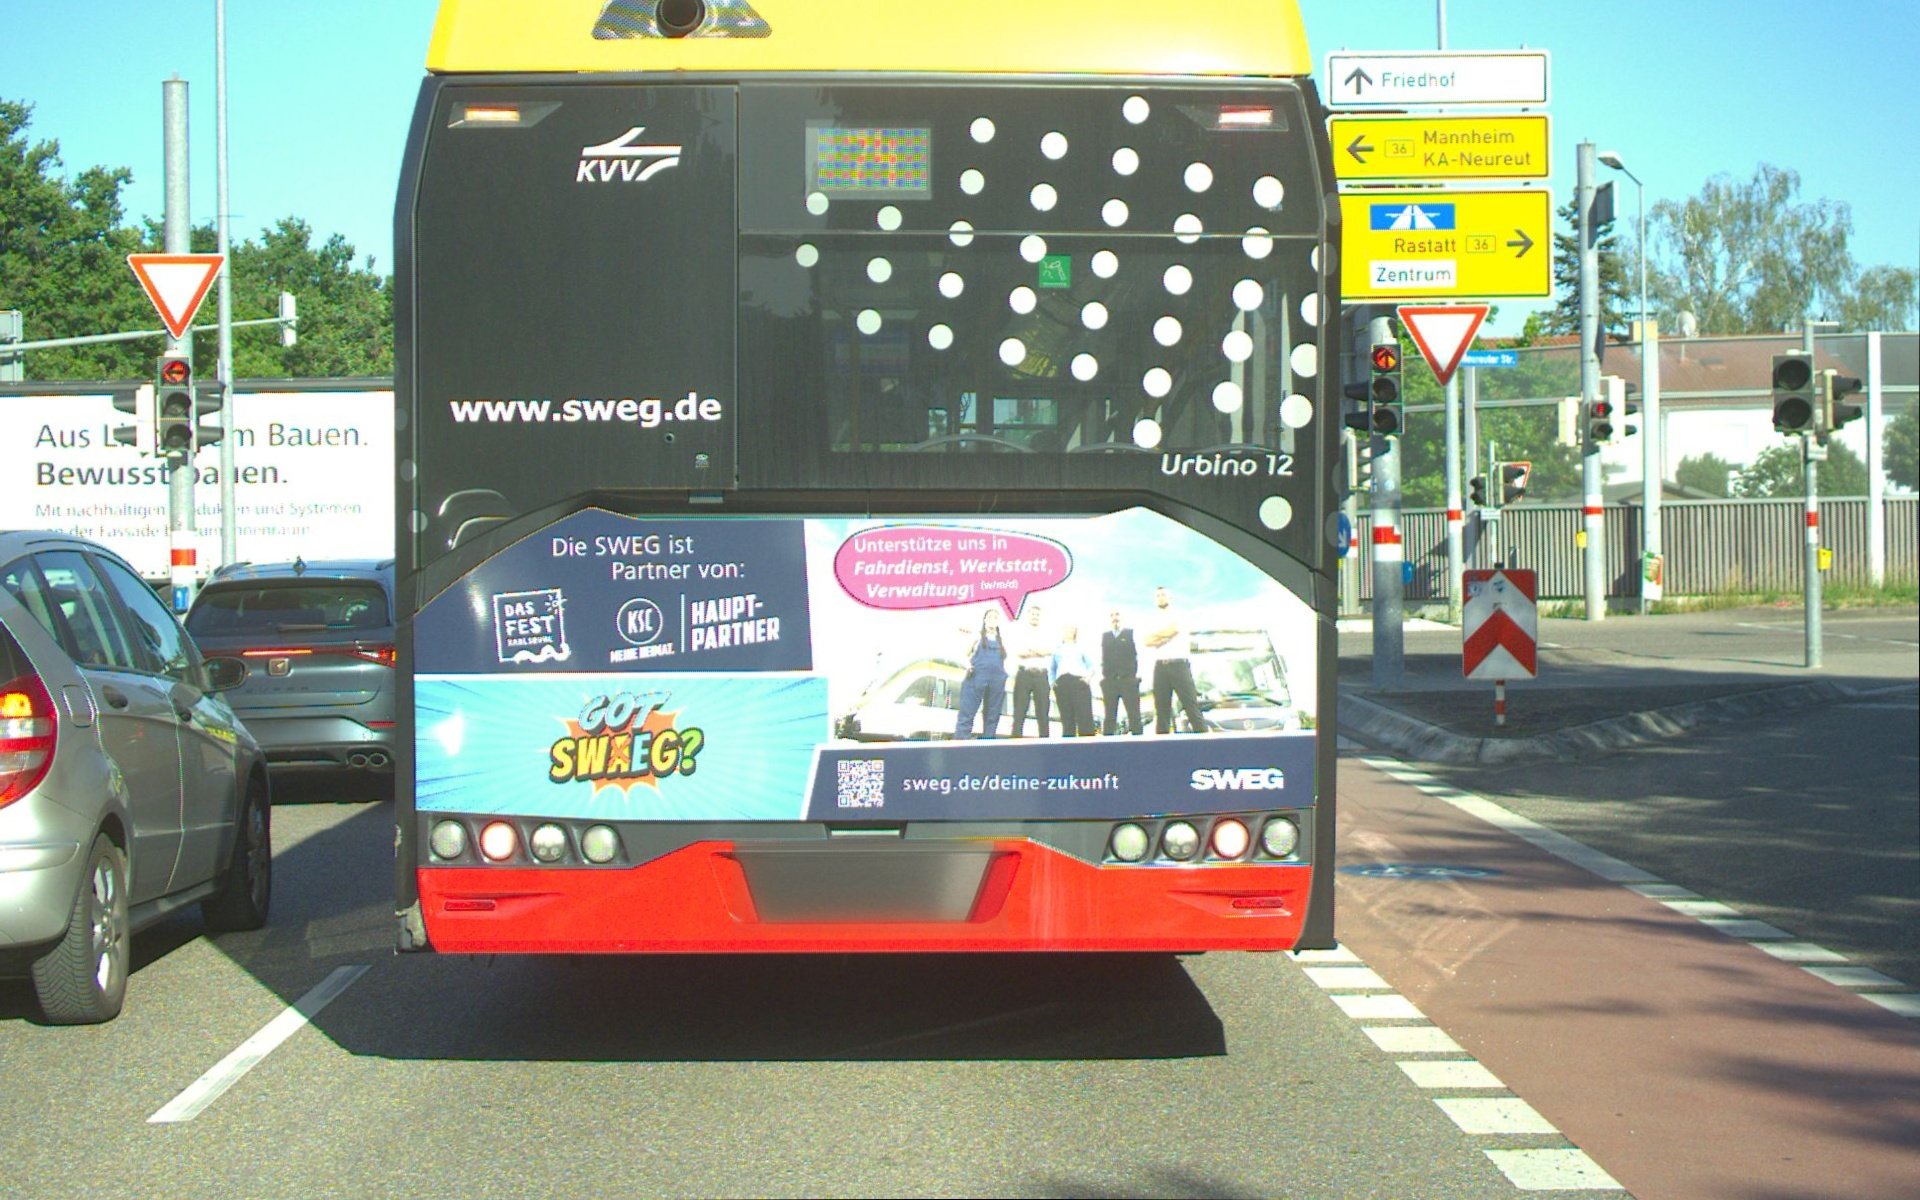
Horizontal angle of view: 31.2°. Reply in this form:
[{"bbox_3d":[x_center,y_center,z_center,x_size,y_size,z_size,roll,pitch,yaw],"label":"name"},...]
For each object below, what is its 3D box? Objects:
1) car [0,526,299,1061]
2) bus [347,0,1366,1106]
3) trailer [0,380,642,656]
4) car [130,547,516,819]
[{"bbox_3d":[-3.601,0.567,12.195,1.761,1.584,4.000,-2,1,-1],"label":"car"},{"bbox_3d":[-0.289,-0.397,14.893,2.642,3.156,11.861,0,1,0],"label":"bus"},{"bbox_3d":[-12.231,-1.224,52.030,14.653,3.999,3.441,-1,1,-6],"label":"trailer"},{"bbox_3d":[-3.808,0.437,21.126,1.692,1.453,3.751,-2,1,-1],"label":"car"}]
